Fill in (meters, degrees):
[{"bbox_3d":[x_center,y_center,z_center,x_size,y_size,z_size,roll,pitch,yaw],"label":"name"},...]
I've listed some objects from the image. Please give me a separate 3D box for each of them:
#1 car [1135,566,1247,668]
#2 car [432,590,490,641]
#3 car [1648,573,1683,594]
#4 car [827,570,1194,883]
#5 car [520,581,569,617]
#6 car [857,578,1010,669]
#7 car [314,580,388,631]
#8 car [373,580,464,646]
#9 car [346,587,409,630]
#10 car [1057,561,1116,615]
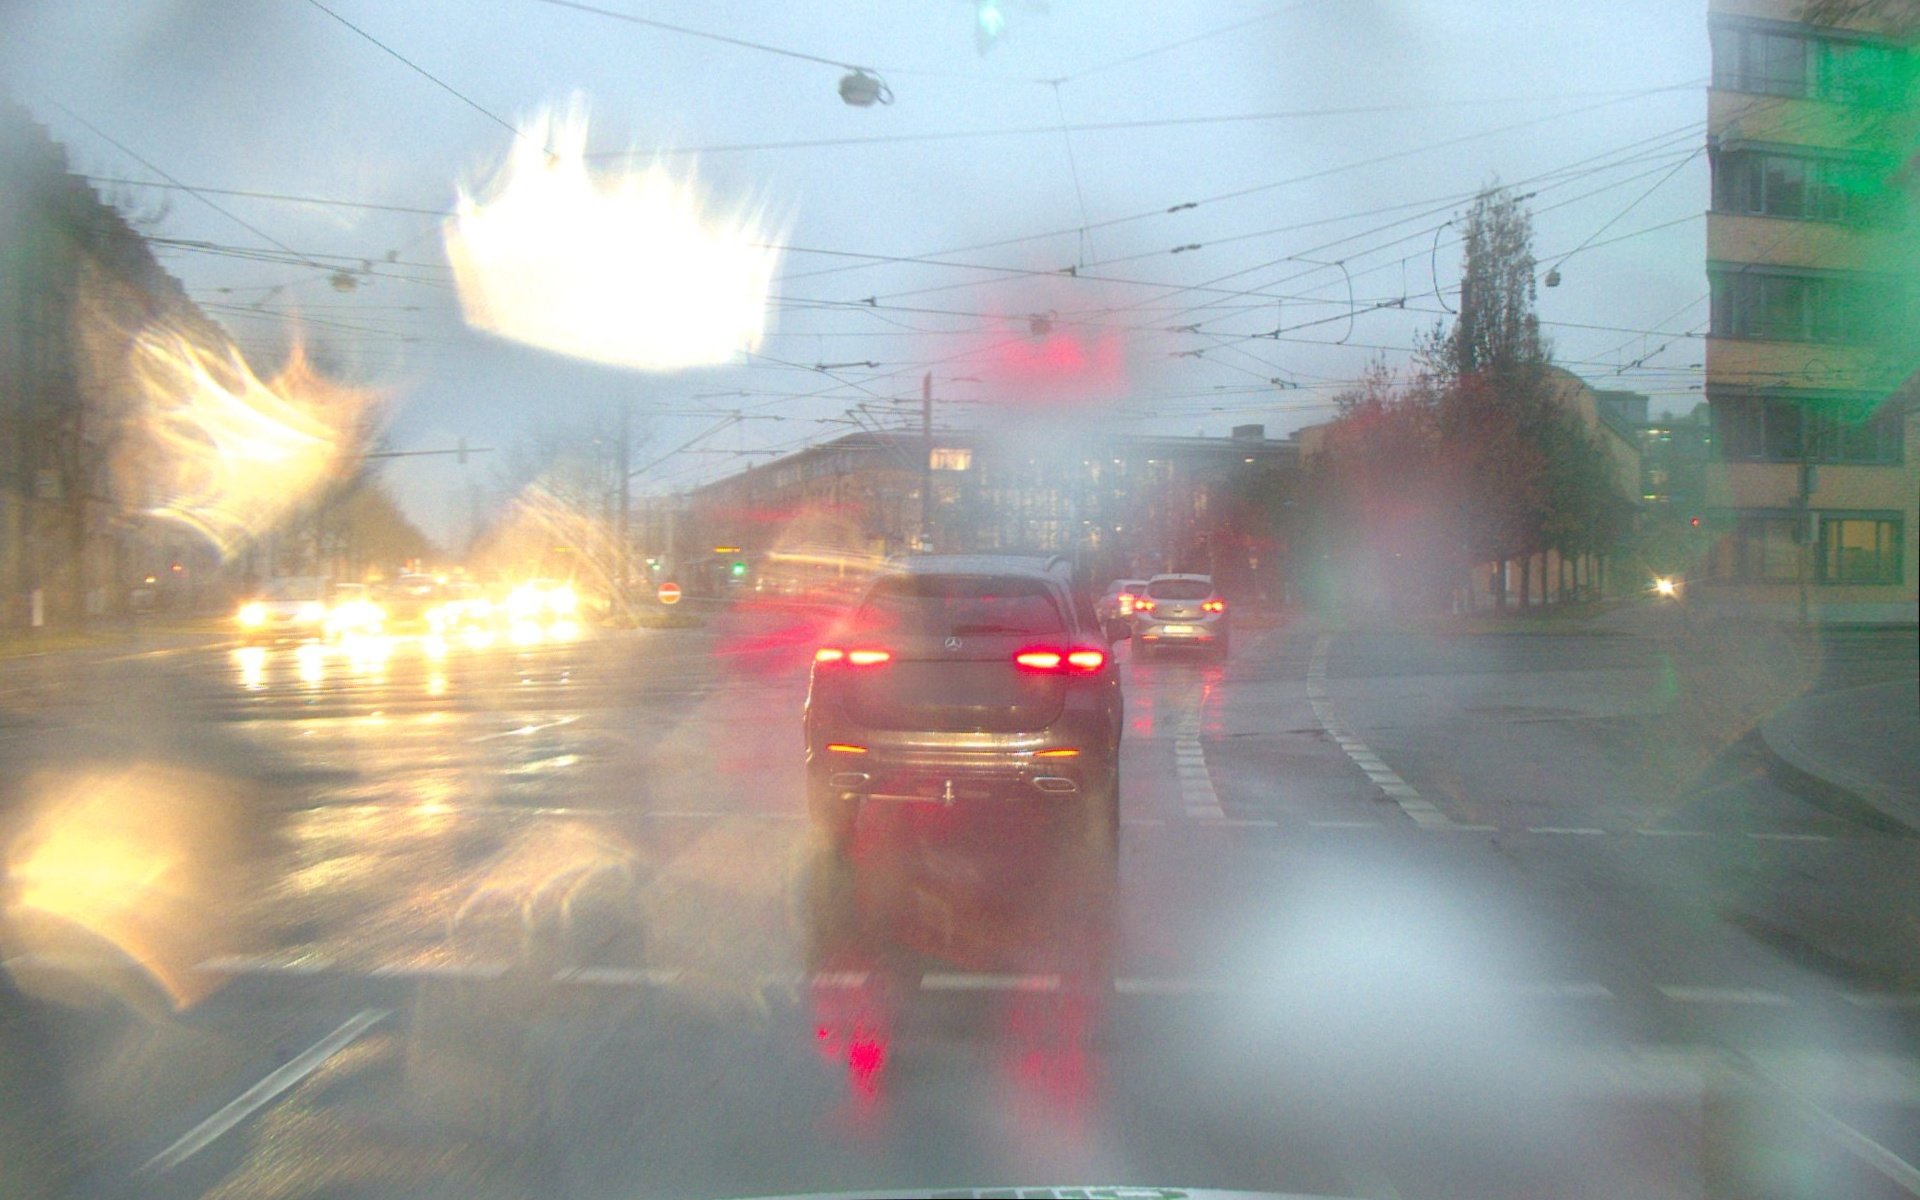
[{"bbox_3d":[4.409,0.262,31.326,1.951,1.796,4.004,0,1,9],"label":"car"},{"bbox_3d":[-15.501,0.431,51.301,1.654,1.483,4.313,0,1,-18],"label":"car"},{"bbox_3d":[40.699,-0.947,95.364,1.635,1.201,3.704,0,1,27],"label":"car"},{"bbox_3d":[0.185,0.634,10.783,1.951,1.644,3.998,0,1,-3],"label":"car"},{"bbox_3d":[-15.701,-0.067,62.419,1.513,1.267,4.066,-1,1,-18],"label":"car"},{"bbox_3d":[-0.365,0.347,28.216,1.951,1.422,4.004,0,1,9],"label":"car"},{"bbox_3d":[-17.638,0.125,48.018,1.652,1.416,3.600,0,1,-15],"label":"car"},{"bbox_3d":[-12.953,0.272,39.745,1.651,1.483,4.050,0,1,-12],"label":"car"},{"bbox_3d":[-19.833,0.265,56.456,1.652,1.377,4.371,0,1,-15],"label":"car"},{"bbox_3d":[4.389,-0.433,57.672,1.952,1.796,4.002,0,1,3],"label":"car"}]
